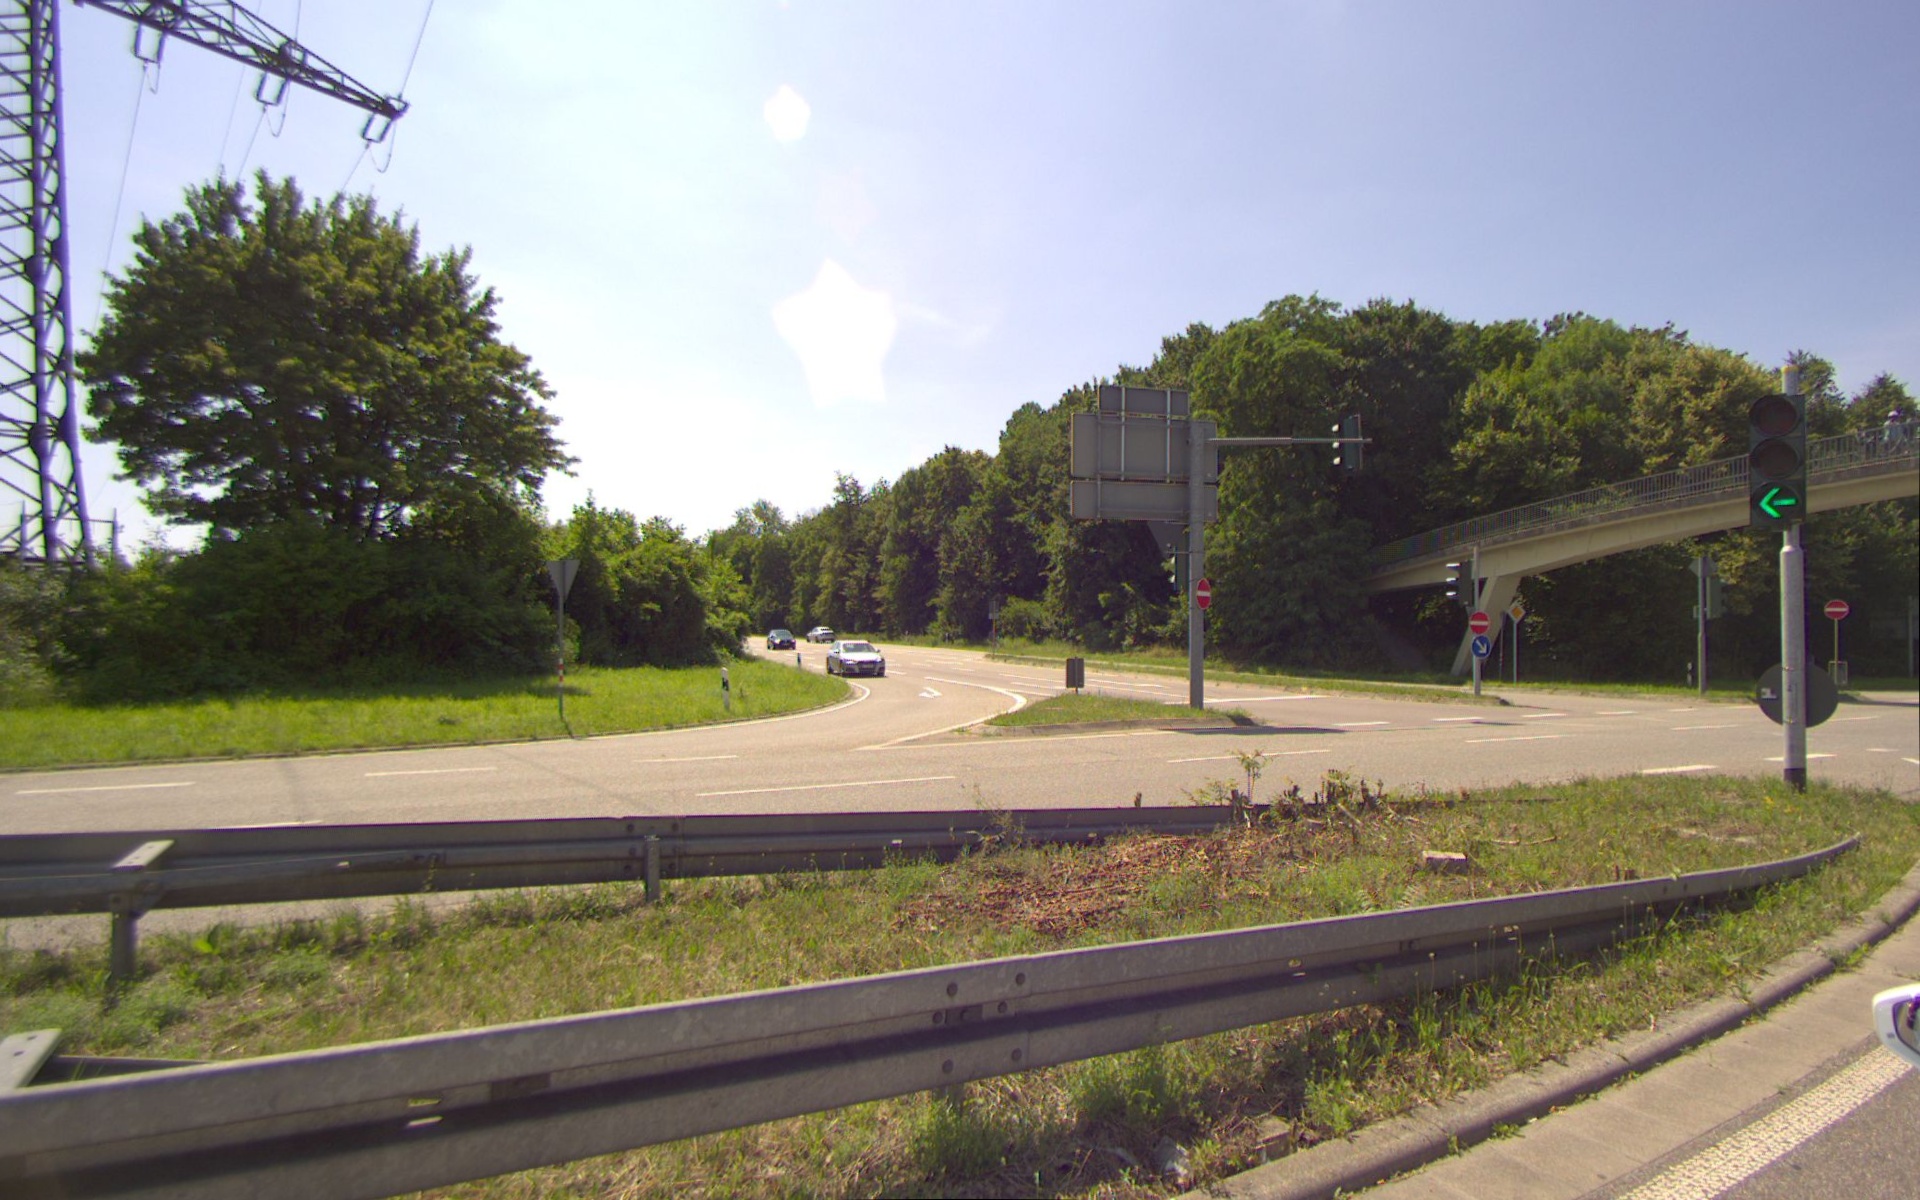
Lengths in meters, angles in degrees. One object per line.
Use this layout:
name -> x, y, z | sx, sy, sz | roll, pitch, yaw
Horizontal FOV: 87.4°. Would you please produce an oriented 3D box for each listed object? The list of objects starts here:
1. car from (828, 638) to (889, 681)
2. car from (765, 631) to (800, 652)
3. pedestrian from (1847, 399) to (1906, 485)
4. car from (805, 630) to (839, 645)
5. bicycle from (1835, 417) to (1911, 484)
car -> -4.340, 2.443, 42.234 | 2.013, 1.596, 4.655 | -2, -1, -12
car -> -13.673, 3.180, 77.196 | 1.716, 1.552, 4.145 | -2, -1, -23
pedestrian -> 25.454, -4.365, 27.904 | 0.916, 2.167, 0.783 | 2, -3, -13
car -> -13.273, 3.586, 96.403 | 1.972, 1.391, 4.756 | 1, -2, -23
bicycle -> 25.122, -4.093, 27.675 | 0.461, 1.493, 1.528 | 2, -4, -13
